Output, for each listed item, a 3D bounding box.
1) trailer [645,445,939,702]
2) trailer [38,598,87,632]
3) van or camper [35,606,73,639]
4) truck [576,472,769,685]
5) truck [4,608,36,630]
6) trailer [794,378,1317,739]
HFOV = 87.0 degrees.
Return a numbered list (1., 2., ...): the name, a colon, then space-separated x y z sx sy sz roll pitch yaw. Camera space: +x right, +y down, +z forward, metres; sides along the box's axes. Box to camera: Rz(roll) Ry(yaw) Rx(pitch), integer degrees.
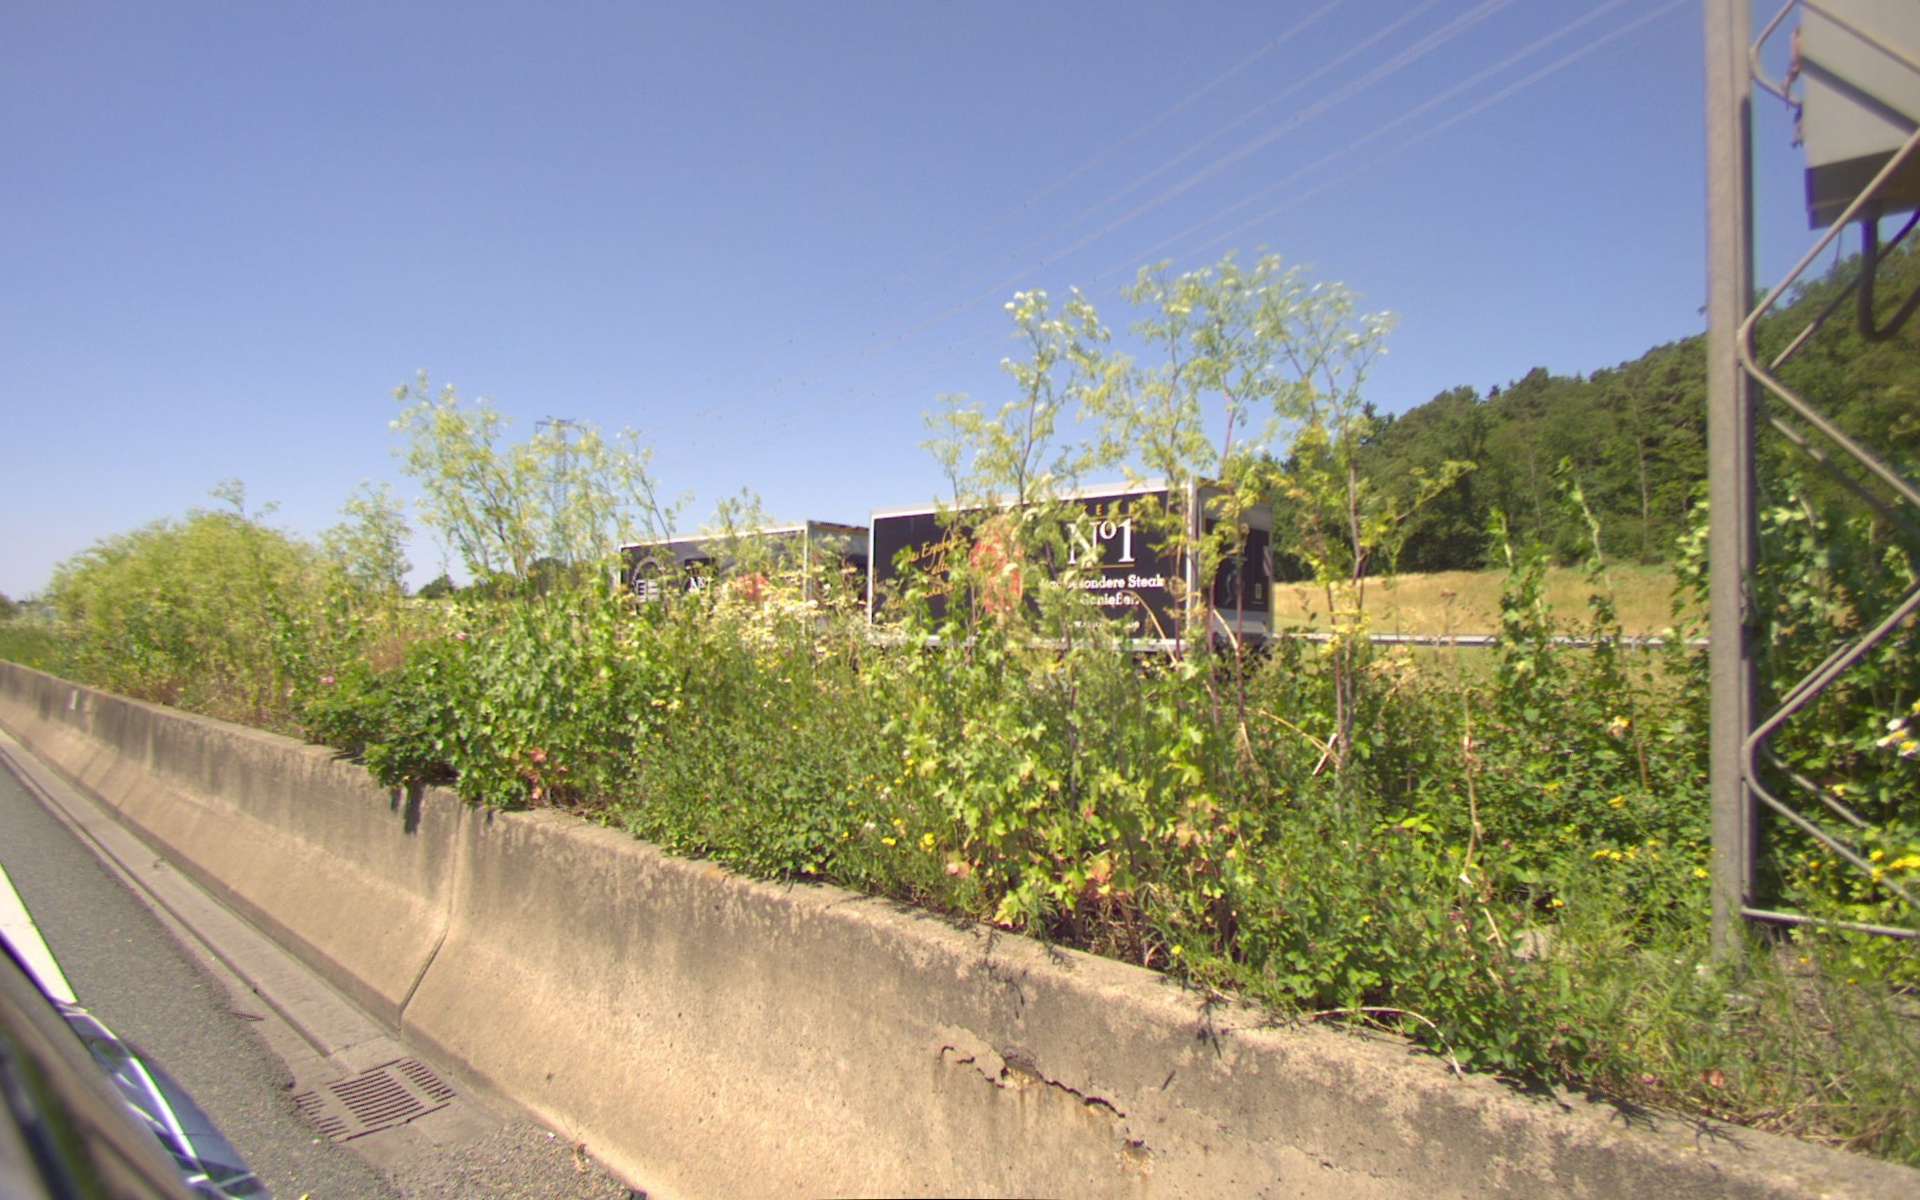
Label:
1. trailer: -4.045 -0.488 23.498 6.702 5.086 3.287 -1 -1 42
2. trailer: -102.580 1.739 115.611 8.198 3.790 3.149 -1 -2 42
3. van or camper: -82.000 2.067 91.556 4.648 2.882 2.026 -1 -2 42
4. truck: -7.600 -0.465 26.729 4.031 5.089 3.268 -1 -2 42
5. truck: -146.616 2.951 157.779 11.820 3.313 2.735 -1 -2 43
6. trailer: 1.248 -0.538 18.695 9.590 5.086 3.286 -1 -1 43
